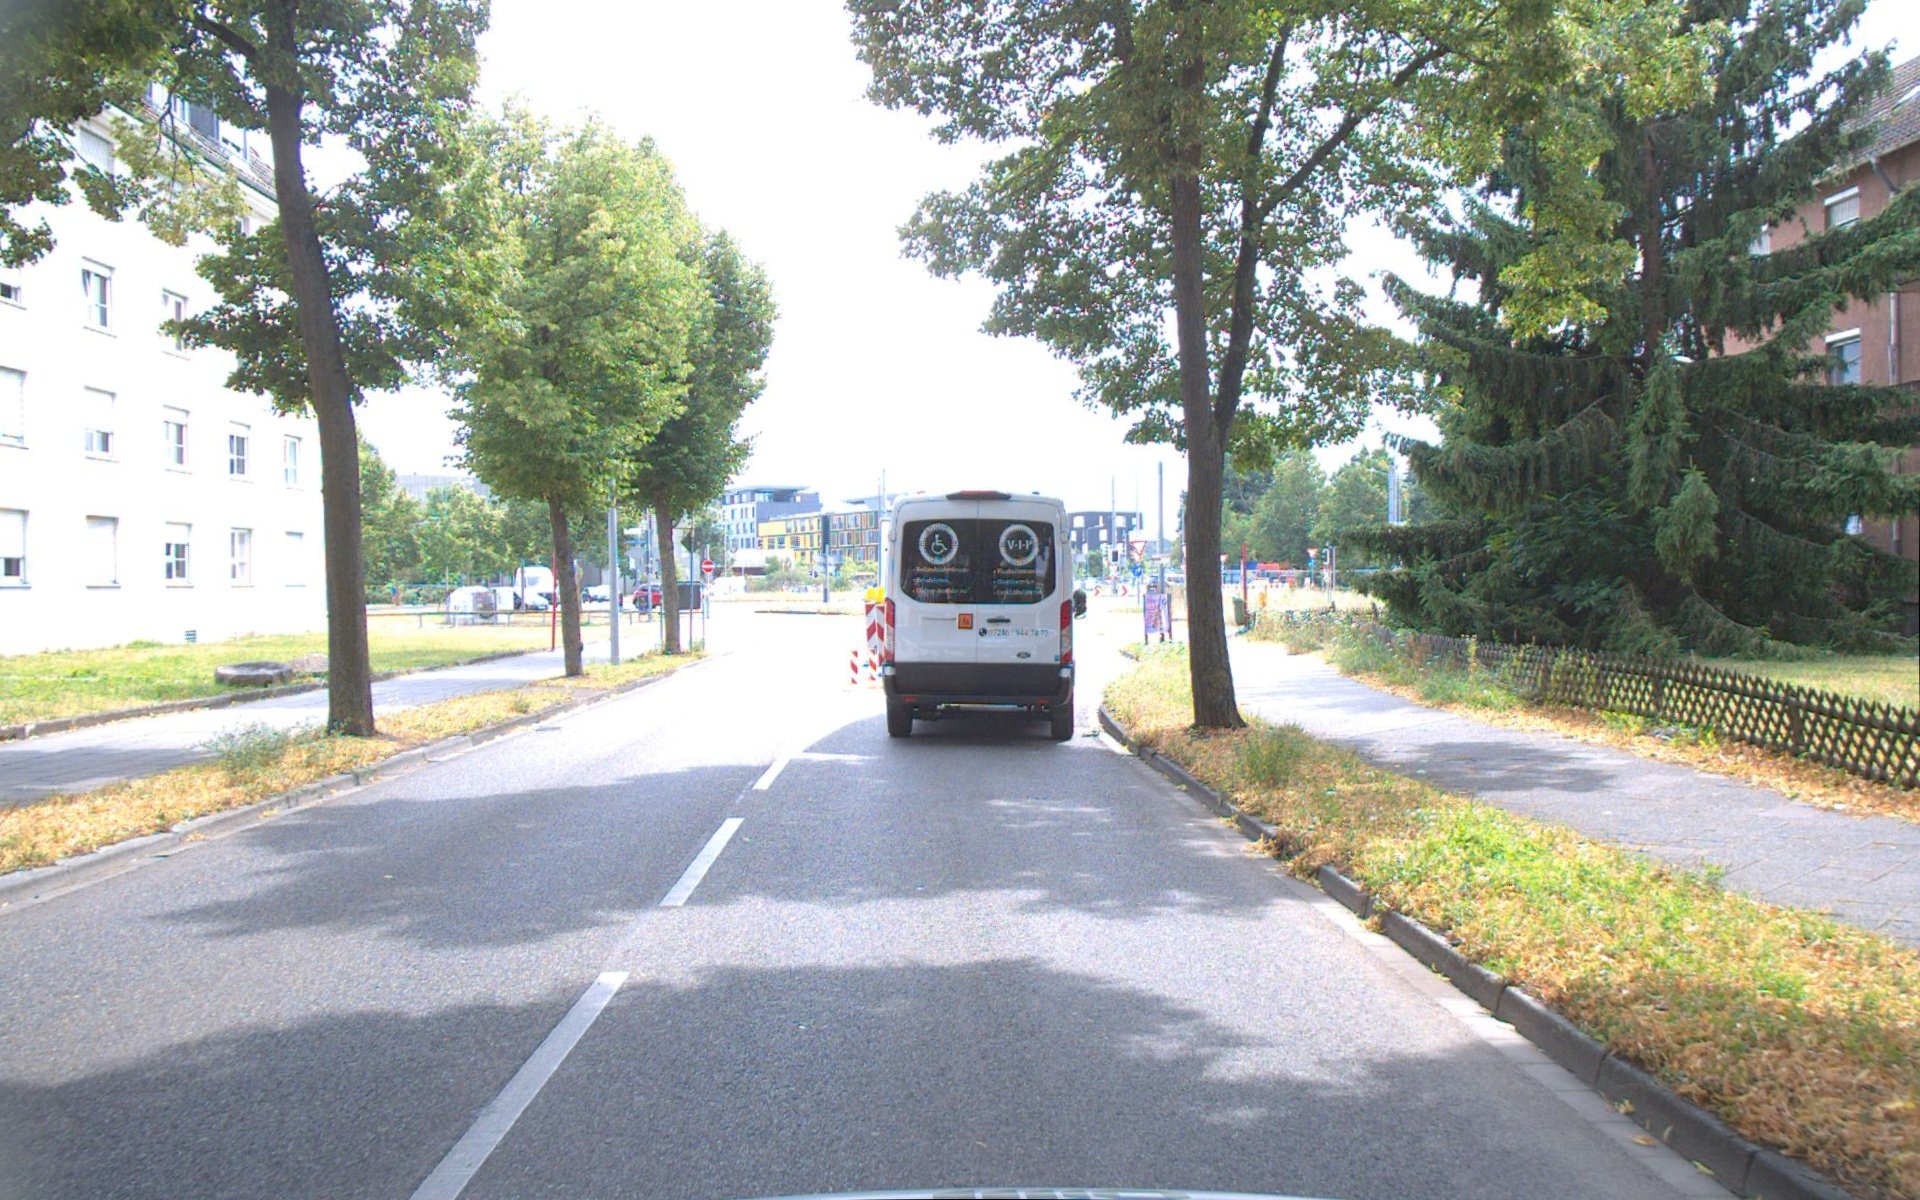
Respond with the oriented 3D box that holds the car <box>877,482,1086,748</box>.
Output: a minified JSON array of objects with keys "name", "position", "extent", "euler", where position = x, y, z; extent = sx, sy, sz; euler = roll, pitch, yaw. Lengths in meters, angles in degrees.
[{"name":"car","position":[0.319,0.127,18.258],"extent":[2.019,2.584,4.002],"euler":[-1,1,3]}]

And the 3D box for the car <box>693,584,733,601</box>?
[{"name":"car","position":[-27.024,-0.854,180.957],"extent":[3.934,1.691,1.877],"euler":[-3,0,-23]}]

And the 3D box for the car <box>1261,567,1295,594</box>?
[{"name":"car","position":[24.252,-1.501,126.186],"extent":[1.964,1.848,4.414],"euler":[-3,0,18]}]

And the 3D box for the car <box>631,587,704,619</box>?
[{"name":"car","position":[-17.785,0.183,100.556],"extent":[3.903,1.691,1.892],"euler":[-3,0,19]}]

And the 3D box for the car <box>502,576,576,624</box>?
[{"name":"car","position":[-27.924,0.010,109.571],"extent":[2.595,2.900,5.593],"euler":[-3,0,-39]}]
